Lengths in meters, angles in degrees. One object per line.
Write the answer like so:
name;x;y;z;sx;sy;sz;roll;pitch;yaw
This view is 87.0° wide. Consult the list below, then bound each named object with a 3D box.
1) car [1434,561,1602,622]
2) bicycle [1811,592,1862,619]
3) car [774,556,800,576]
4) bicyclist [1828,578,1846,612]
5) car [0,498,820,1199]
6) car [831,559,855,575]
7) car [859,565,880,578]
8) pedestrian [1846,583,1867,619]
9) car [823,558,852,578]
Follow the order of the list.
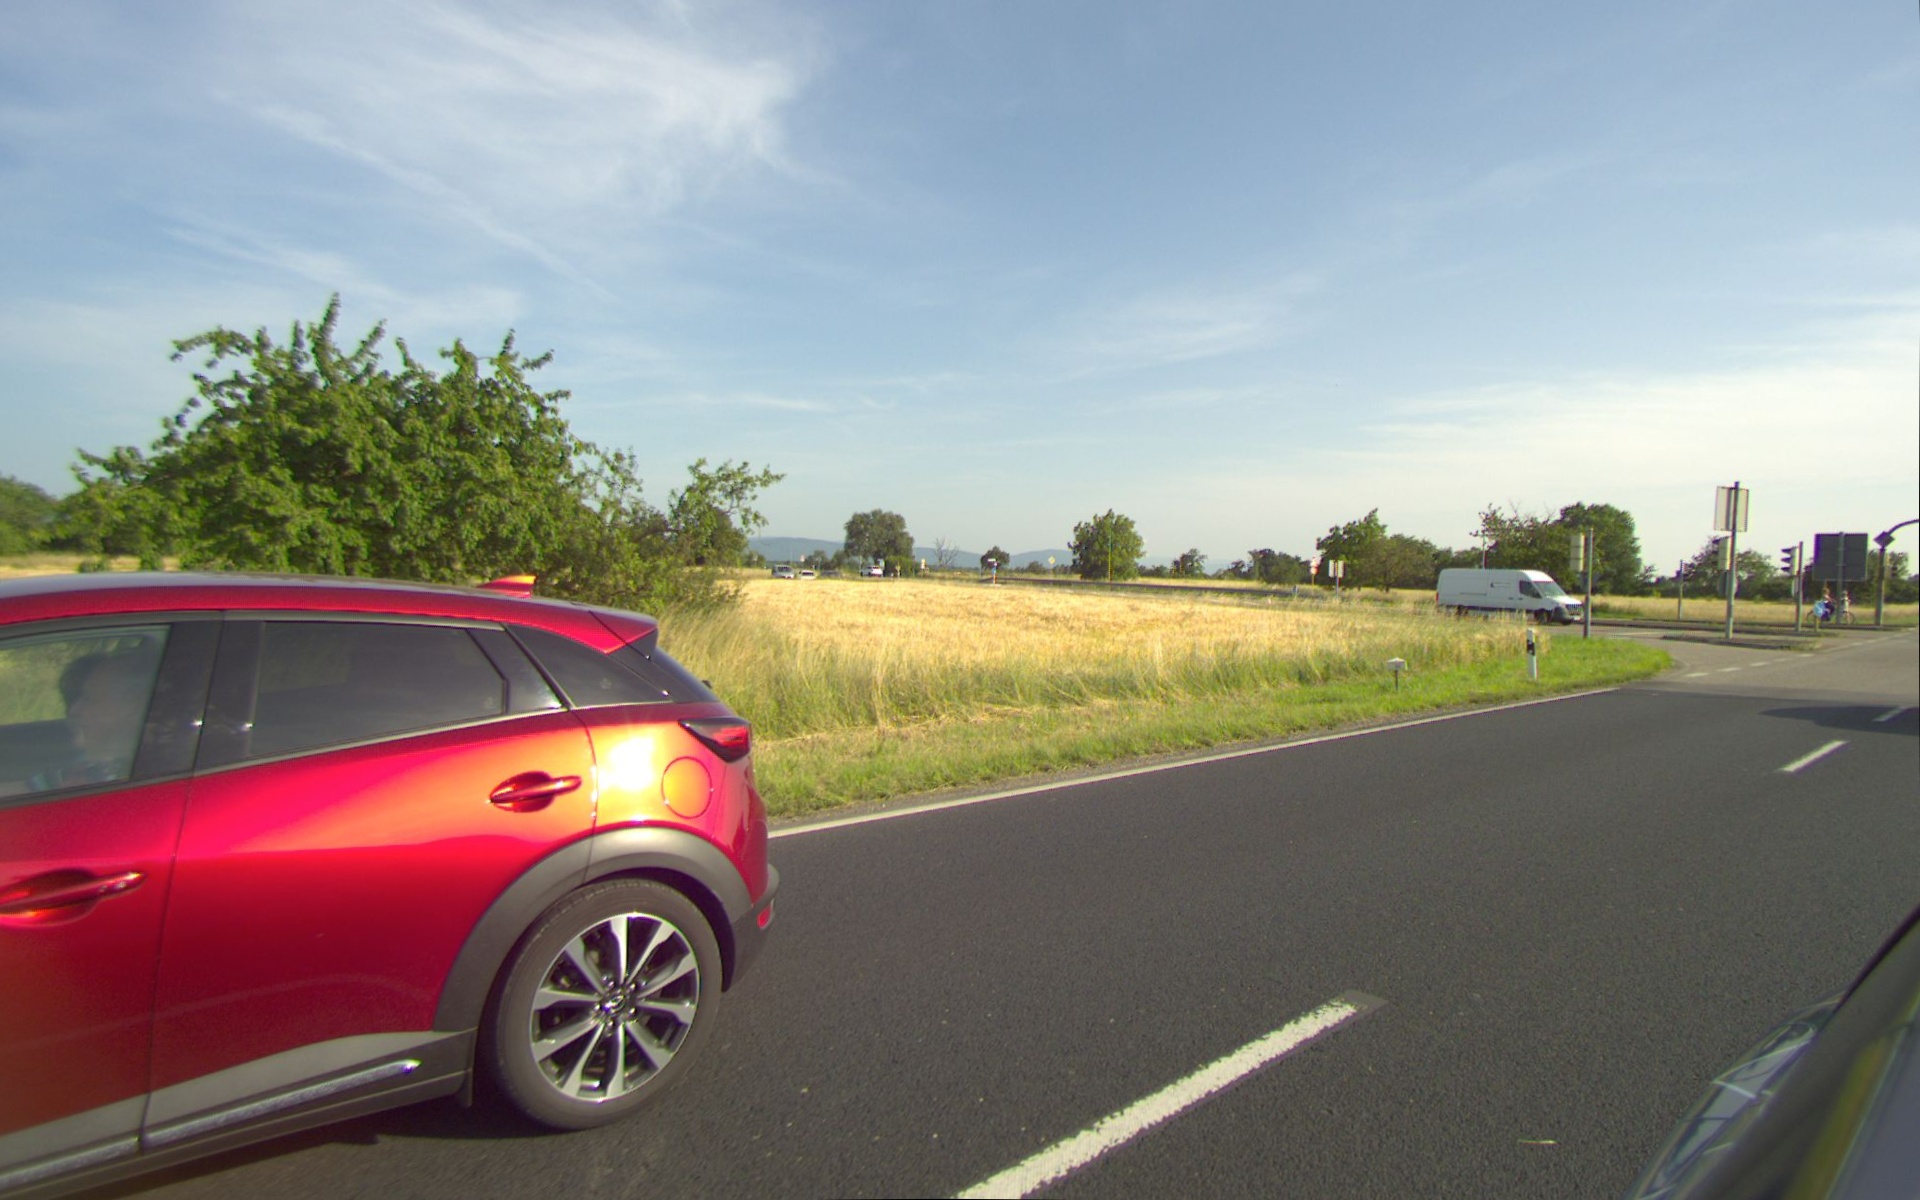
car;26.936;-0.508;49.238;2.049;2.702;7.229;-1;2;-27
bicycle;42.987;0.246;49.645;0.519;1.305;1.858;-1;1;-38
car;-17.220;-3.357;100.638;1.808;1.972;4.008;-1;1;-19
bicyclist;43.086;-0.238;49.741;0.495;1.632;0.560;0;0;-35
car;-2.654;0.564;2.374;4.423;1.524;1.707;-1;1;-42
car;-13.625;-3.809;117.632;1.808;1.776;4.008;-1;1;-21
car;-12.375;-3.846;137.903;1.698;1.683;4.008;-1;1;-23
pedestrian;44.619;0.044;50.361;0.586;1.773;0.624;0;0;-31
car;-12.631;-3.304;104.229;1.808;1.972;4.007;-1;1;-24
